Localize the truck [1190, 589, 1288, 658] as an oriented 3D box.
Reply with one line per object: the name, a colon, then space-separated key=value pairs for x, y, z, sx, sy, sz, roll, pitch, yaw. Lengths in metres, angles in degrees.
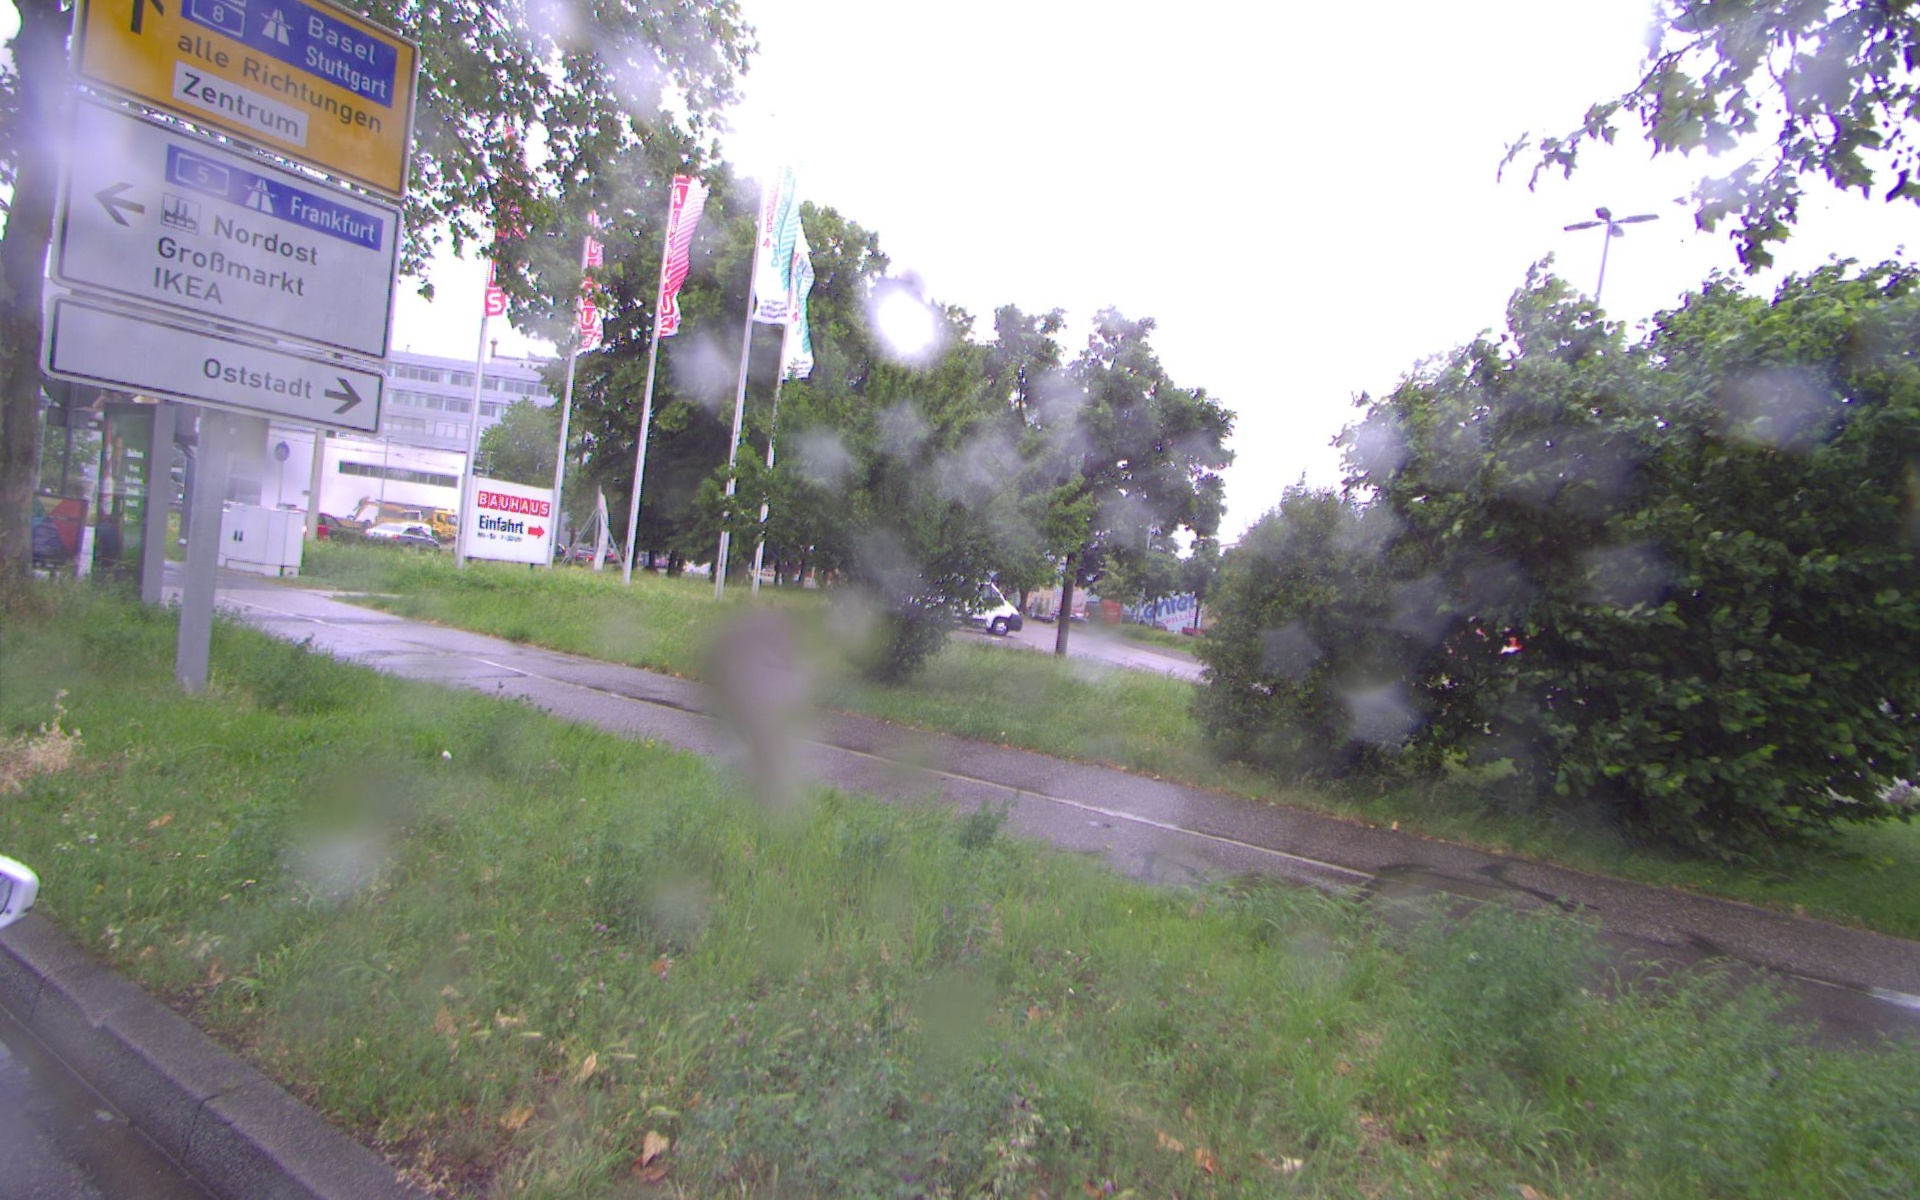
truck: x=16.523 y=1.329 z=60.364 sx=2.507 sy=3.511 sz=9.397 roll=8 pitch=0 yaw=-2

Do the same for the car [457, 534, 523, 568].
car: x=-28.359 y=-2.928 z=60.881 sx=1.892 sy=1.606 sz=4.622 roll=6 pitch=0 yaw=-3

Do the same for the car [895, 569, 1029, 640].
car: x=0.027 y=0.164 z=40.922 sx=5.015 sy=2.232 sz=2.188 roll=7 pitch=1 yaw=-9

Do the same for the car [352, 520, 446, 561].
car: x=-27.504 y=-2.894 z=49.538 sx=1.892 sy=1.509 sz=4.828 roll=6 pitch=0 yaw=-2

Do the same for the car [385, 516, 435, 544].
car: x=-45.772 y=-5.772 z=83.784 sx=1.710 sy=1.746 sz=4.244 roll=8 pitch=-1 yaw=-1

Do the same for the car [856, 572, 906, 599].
car: x=-7.856 y=-1.446 z=100.595 sx=4.670 sy=2.241 sz=1.964 roll=6 pitch=1 yaw=-2

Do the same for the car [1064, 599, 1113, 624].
car: x=13.312 y=1.175 z=104.485 sx=4.613 sy=2.039 sz=1.999 roll=7 pitch=1 yaw=1

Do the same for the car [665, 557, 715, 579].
car: x=-26.517 y=-3.169 z=98.986 sx=1.895 sy=1.606 sz=4.617 roll=6 pitch=0 yaw=30

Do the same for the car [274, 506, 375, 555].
car: x=-26.501 y=-2.870 z=42.087 sx=1.647 sy=1.508 sz=3.817 roll=7 pitch=-1 yaw=0

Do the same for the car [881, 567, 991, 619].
car: x=-1.387 y=-0.409 z=57.646 sx=5.955 sy=2.232 sz=2.190 roll=7 pitch=1 yaw=-2

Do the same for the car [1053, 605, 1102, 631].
car: x=11.854 y=1.839 z=101.725 sx=4.612 sy=2.038 sz=2.001 roll=7 pitch=0 yaw=3

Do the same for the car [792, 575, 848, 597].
car: x=-15.416 y=-1.584 z=111.071 sx=5.853 sy=1.754 sz=2.276 roll=6 pitch=1 yaw=-3

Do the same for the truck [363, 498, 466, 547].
truck: x=-52.675 y=-7.433 z=97.334 sx=7.747 sy=3.552 sz=3.325 roll=7 pitch=1 yaw=-4

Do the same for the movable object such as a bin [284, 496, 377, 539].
movable object such as a bin: x=-60.589 y=-7.917 z=97.010 sx=6.601 sy=3.034 sz=3.324 roll=7 pitch=1 yaw=-4

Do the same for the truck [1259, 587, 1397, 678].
truck: x=16.708 y=1.332 z=46.407 sx=2.508 sy=3.513 sz=8.008 roll=8 pitch=0 yaw=-4

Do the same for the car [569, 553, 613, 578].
car: x=-28.730 y=-2.681 z=78.428 sx=1.892 sy=1.606 sz=4.623 roll=6 pitch=0 yaw=-4
